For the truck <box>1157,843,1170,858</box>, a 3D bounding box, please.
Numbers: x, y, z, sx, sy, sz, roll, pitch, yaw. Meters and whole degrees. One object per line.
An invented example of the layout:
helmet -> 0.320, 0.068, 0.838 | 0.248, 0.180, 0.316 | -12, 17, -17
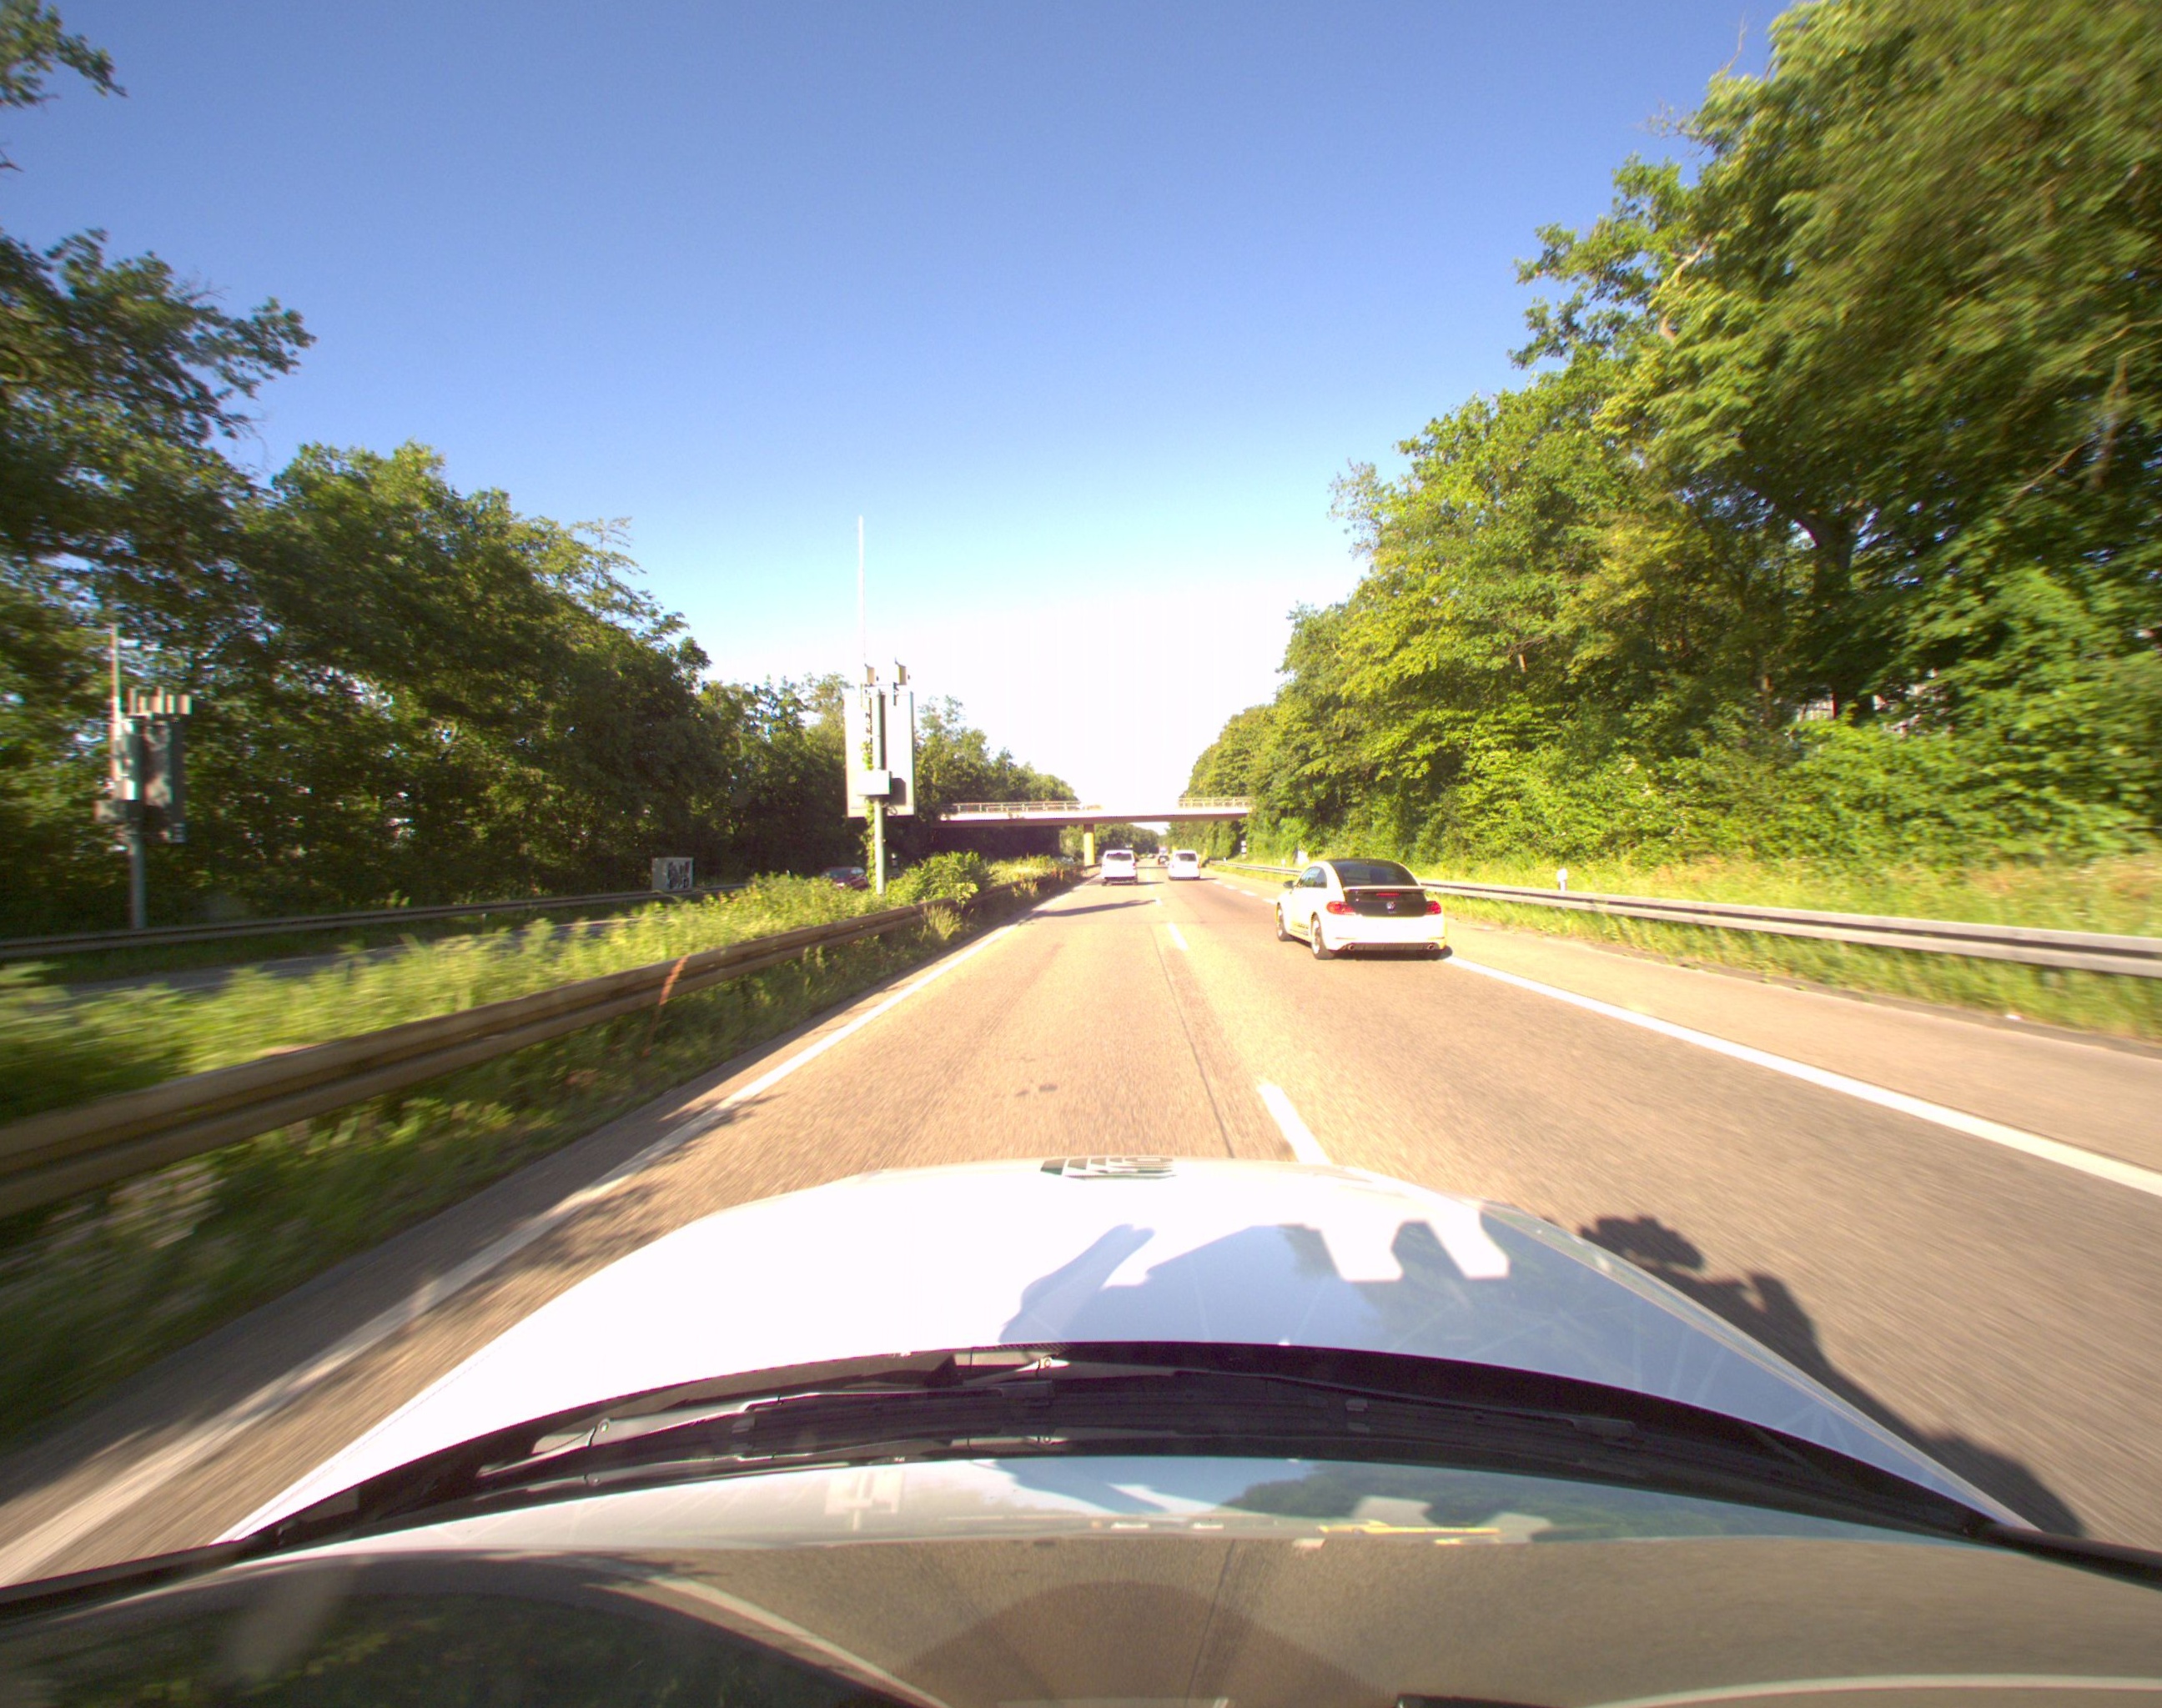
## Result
truck -> 25.125, -1.090, 248.117 | 3.479, 4.172, 8.875 | -2, 0, 5

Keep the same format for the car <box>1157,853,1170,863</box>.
car -> 12.552, 0.576, 123.985 | 1.984, 1.398, 4.006 | -2, 0, 5

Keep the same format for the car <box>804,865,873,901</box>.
car -> -10.846, 1.260, 36.751 | 1.702, 1.424, 4.135 | -2, 0, 2

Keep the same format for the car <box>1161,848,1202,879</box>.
car -> 6.051, 0.551, 49.478 | 1.858, 1.770, 4.467 | -2, 0, -1

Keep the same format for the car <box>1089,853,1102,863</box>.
car -> 2.704, 0.660, 150.177 | 1.952, 1.724, 4.597 | -2, 0, 4

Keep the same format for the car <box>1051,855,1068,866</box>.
car -> -3.213, 0.960, 124.263 | 1.951, 1.659, 5.048 | -2, 0, 5

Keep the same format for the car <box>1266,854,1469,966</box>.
car -> 4.350, 0.755, 13.135 | 1.872, 1.461, 4.358 | -1, 0, 2

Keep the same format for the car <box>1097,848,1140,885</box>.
car -> 1.907, 0.620, 42.068 | 2.077, 1.828, 4.002 | 0, 0, 2
